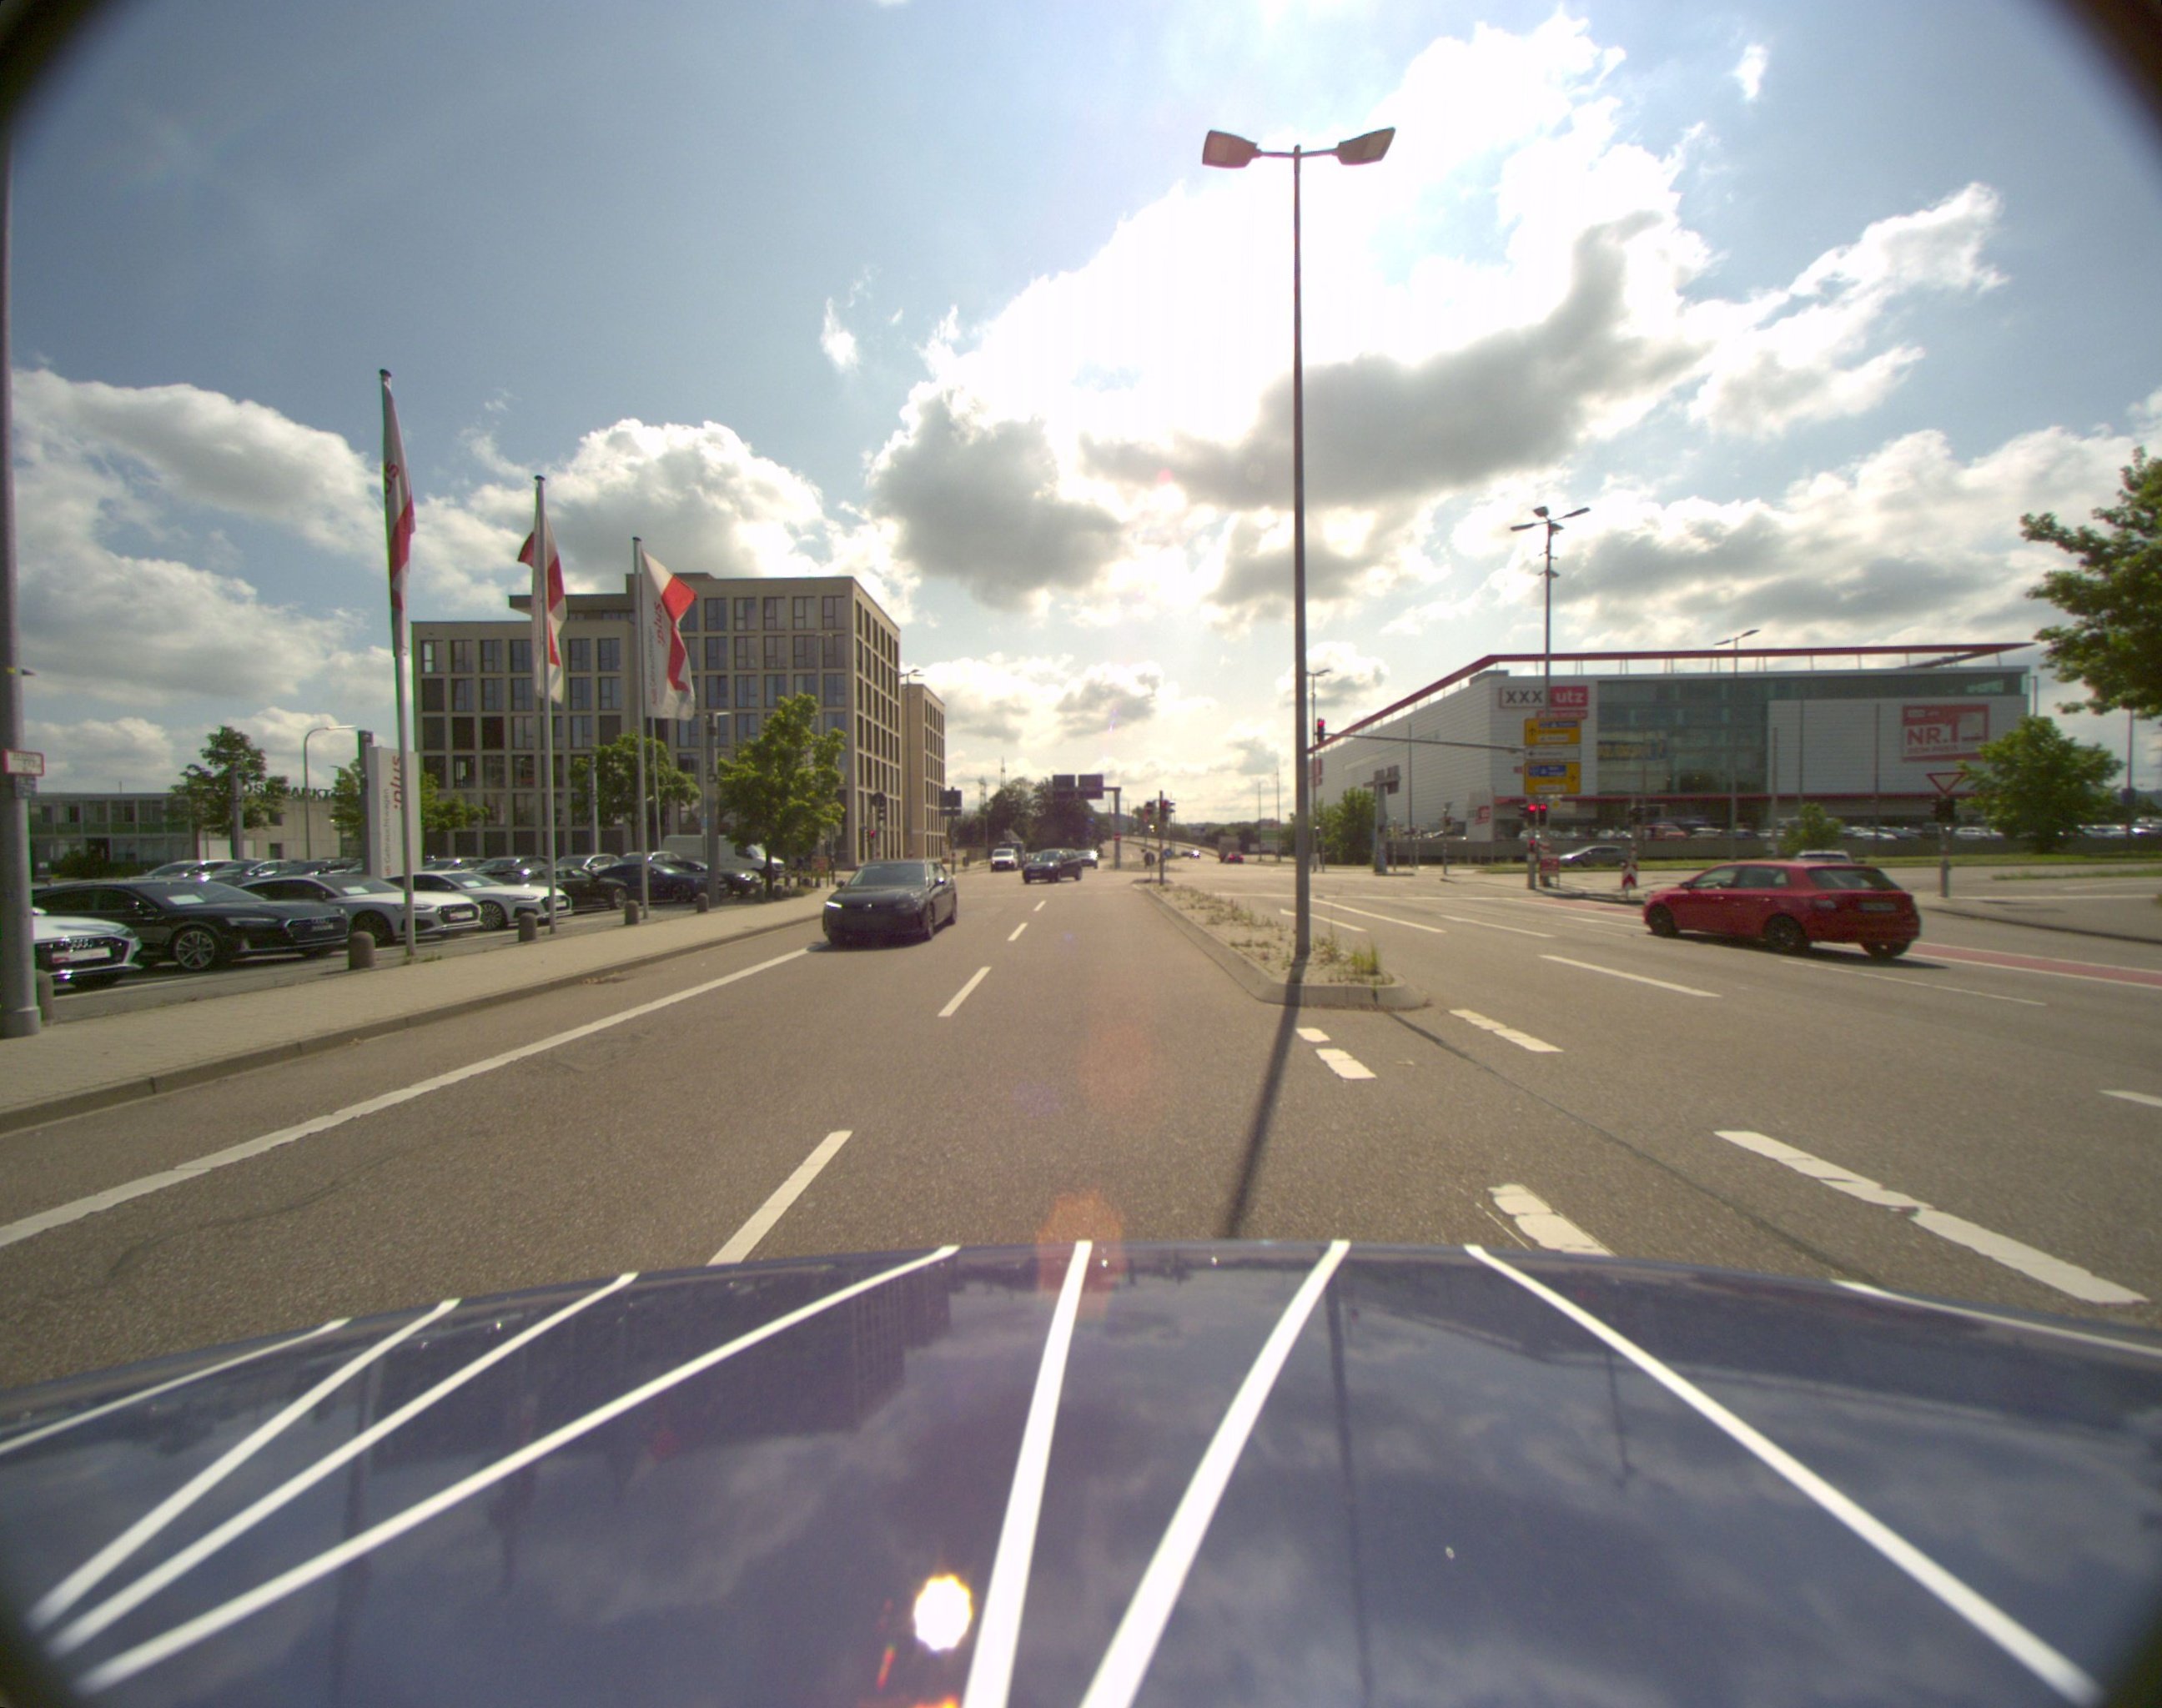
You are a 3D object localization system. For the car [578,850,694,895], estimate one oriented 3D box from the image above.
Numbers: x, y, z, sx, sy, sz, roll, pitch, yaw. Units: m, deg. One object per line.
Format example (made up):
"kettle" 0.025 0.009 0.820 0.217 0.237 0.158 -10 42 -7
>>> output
"car" -18.205 0.734 31.388 1.905 1.668 4.591 -2 -1 2

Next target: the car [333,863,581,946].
"car" -13.879 1.089 17.089 3.997 1.455 1.796 -4 1 1

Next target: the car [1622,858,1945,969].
"car" 11.562 0.870 12.988 1.690 1.474 4.125 1 1 1

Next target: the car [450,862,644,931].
"car" -14.466 1.071 21.023 1.794 1.455 4.756 -4 1 2

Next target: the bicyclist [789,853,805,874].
"bicyclist" -20.337 0.683 54.404 0.916 1.468 0.638 -2 0 -12

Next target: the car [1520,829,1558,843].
"car" 54.332 -2.152 90.190 1.953 1.462 4.424 -1 0 2

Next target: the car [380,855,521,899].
"car" -26.062 0.935 31.656 1.905 1.668 4.591 -2 -1 2

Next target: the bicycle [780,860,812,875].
"bicycle" -20.393 0.959 54.387 1.978 1.005 0.649 -1 -1 -11

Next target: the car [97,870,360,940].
"car" -23.992 1.355 21.748 1.983 1.502 4.756 -4 1 2

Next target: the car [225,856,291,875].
"car" -76.582 1.061 70.726 3.997 1.674 2.000 -2 -1 0

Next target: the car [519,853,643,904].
"car" -20.686 0.951 31.733 1.905 1.669 4.587 -2 4 2

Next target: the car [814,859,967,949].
"car" -3.561 0.850 15.280 1.813 1.469 5.204 -1 0 -1

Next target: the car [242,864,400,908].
"car" -31.768 1.298 32.001 1.905 1.668 4.591 -2 -1 2

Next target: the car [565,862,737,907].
"car" -14.100 0.986 25.113 4.586 1.289 1.907 -2 -1 1

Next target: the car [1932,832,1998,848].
"car" 92.541 -1.439 79.638 1.953 1.596 4.425 -1 0 4

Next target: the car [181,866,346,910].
"car" -34.347 1.390 32.149 1.905 1.668 4.591 -2 -1 2

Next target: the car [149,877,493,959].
"car" -14.152 1.159 14.358 4.586 1.289 1.907 -2 -1 1

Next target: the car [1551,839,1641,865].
"car" 31.131 -0.114 46.013 4.265 1.521 1.608 -1 1 4

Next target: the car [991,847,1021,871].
"car" -6.088 0.433 62.229 1.999 1.826 4.992 -2 -1 -2

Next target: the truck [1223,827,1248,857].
"truck" 21.991 -1.643 108.679 3.218 4.003 9.079 -2 -1 10

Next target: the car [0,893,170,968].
"car" -24.114 1.715 17.323 4.357 1.490 1.907 -1 1 1

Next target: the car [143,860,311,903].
"car" -36.466 1.120 32.648 1.905 1.668 4.591 -2 -1 2

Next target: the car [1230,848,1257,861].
"car" 19.941 0.084 93.062 1.775 1.469 4.688 -1 0 31

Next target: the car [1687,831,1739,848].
"car" 65.656 -1.521 79.037 1.953 1.596 4.425 -1 0 4

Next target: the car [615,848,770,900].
"car" -13.925 0.722 27.434 4.586 1.668 1.907 -2 -1 1

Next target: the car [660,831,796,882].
"car" -19.900 0.167 42.983 6.854 2.591 2.141 -2 -1 8

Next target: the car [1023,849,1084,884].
"car" -1.207 0.557 34.969 1.604 1.521 4.275 1 0 15

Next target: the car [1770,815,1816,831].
"car" 87.074 -3.754 92.965 1.914 1.739 4.002 -2 -1 4

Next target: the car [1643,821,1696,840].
"car" 60.609 -2.396 78.336 1.916 1.739 4.186 -2 -1 -9

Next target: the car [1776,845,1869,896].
"car" 25.112 0.498 25.685 4.596 1.546 1.891 -1 1 -41

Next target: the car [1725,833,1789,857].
"car" 72.577 -0.923 81.729 1.748 2.269 5.800 -2 -1 2

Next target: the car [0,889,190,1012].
"car" -14.055 1.153 9.076 4.586 1.289 1.907 -2 -1 1

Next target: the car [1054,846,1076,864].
"car" -1.634 0.109 80.023 1.826 1.827 4.448 -2 -1 4

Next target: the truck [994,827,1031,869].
"truck" -6.154 -0.442 69.980 2.673 3.533 9.783 -2 -1 -2

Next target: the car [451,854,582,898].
"car" -23.510 0.904 31.890 1.905 1.668 4.591 -2 -1 2

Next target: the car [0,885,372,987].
"car" -14.034 1.212 11.612 4.586 1.289 1.907 -2 -1 1

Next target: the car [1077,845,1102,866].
"car" 0.660 0.151 61.851 1.827 1.617 4.212 -2 -1 -2

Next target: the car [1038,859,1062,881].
"car" -2.489 1.273 61.135 1.827 1.617 4.212 -2 -1 -2
